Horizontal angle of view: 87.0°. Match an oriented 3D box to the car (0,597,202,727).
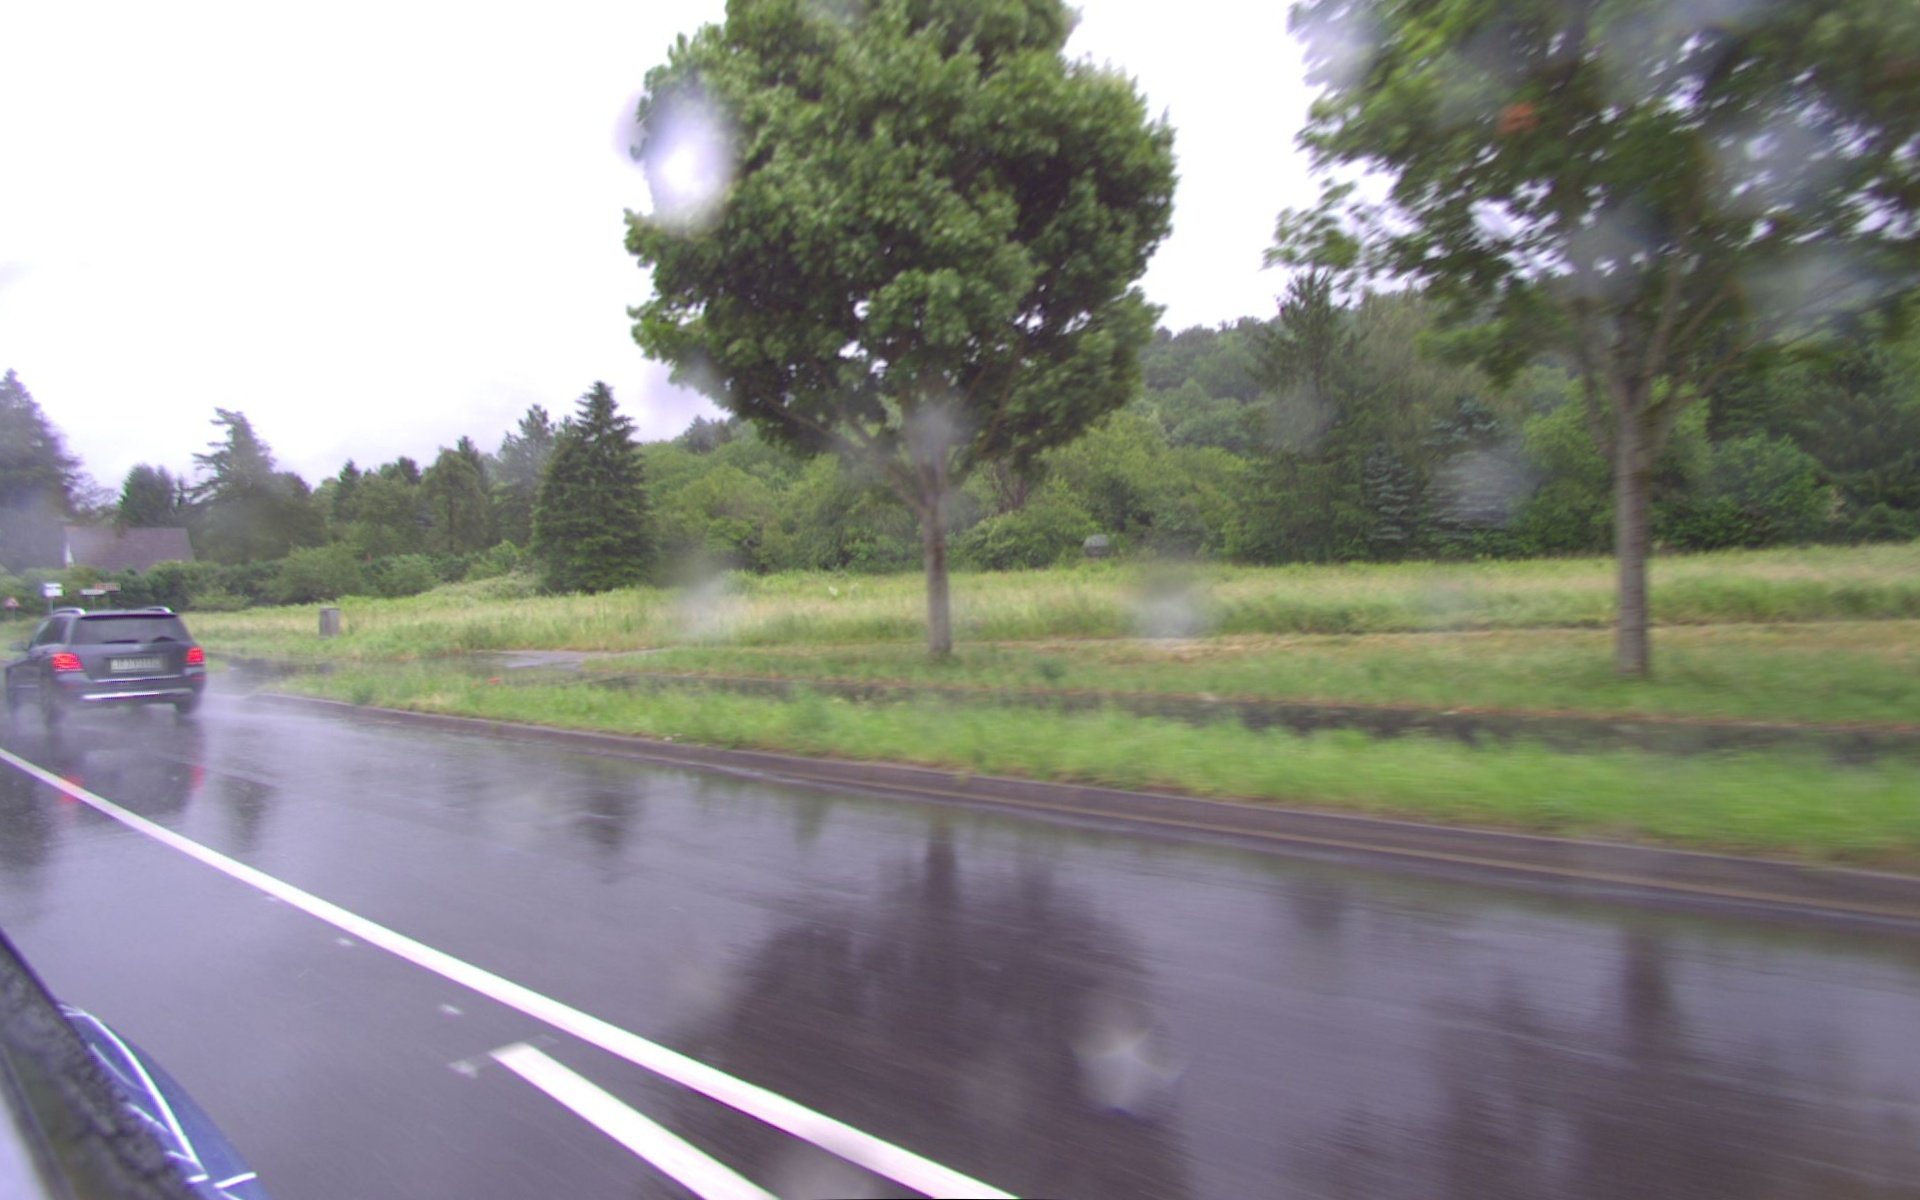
[{"bbox_3d":[-13.347,0.870,15.501,4.216,1.717,1.725,-1,0,38],"label":"car"}]
